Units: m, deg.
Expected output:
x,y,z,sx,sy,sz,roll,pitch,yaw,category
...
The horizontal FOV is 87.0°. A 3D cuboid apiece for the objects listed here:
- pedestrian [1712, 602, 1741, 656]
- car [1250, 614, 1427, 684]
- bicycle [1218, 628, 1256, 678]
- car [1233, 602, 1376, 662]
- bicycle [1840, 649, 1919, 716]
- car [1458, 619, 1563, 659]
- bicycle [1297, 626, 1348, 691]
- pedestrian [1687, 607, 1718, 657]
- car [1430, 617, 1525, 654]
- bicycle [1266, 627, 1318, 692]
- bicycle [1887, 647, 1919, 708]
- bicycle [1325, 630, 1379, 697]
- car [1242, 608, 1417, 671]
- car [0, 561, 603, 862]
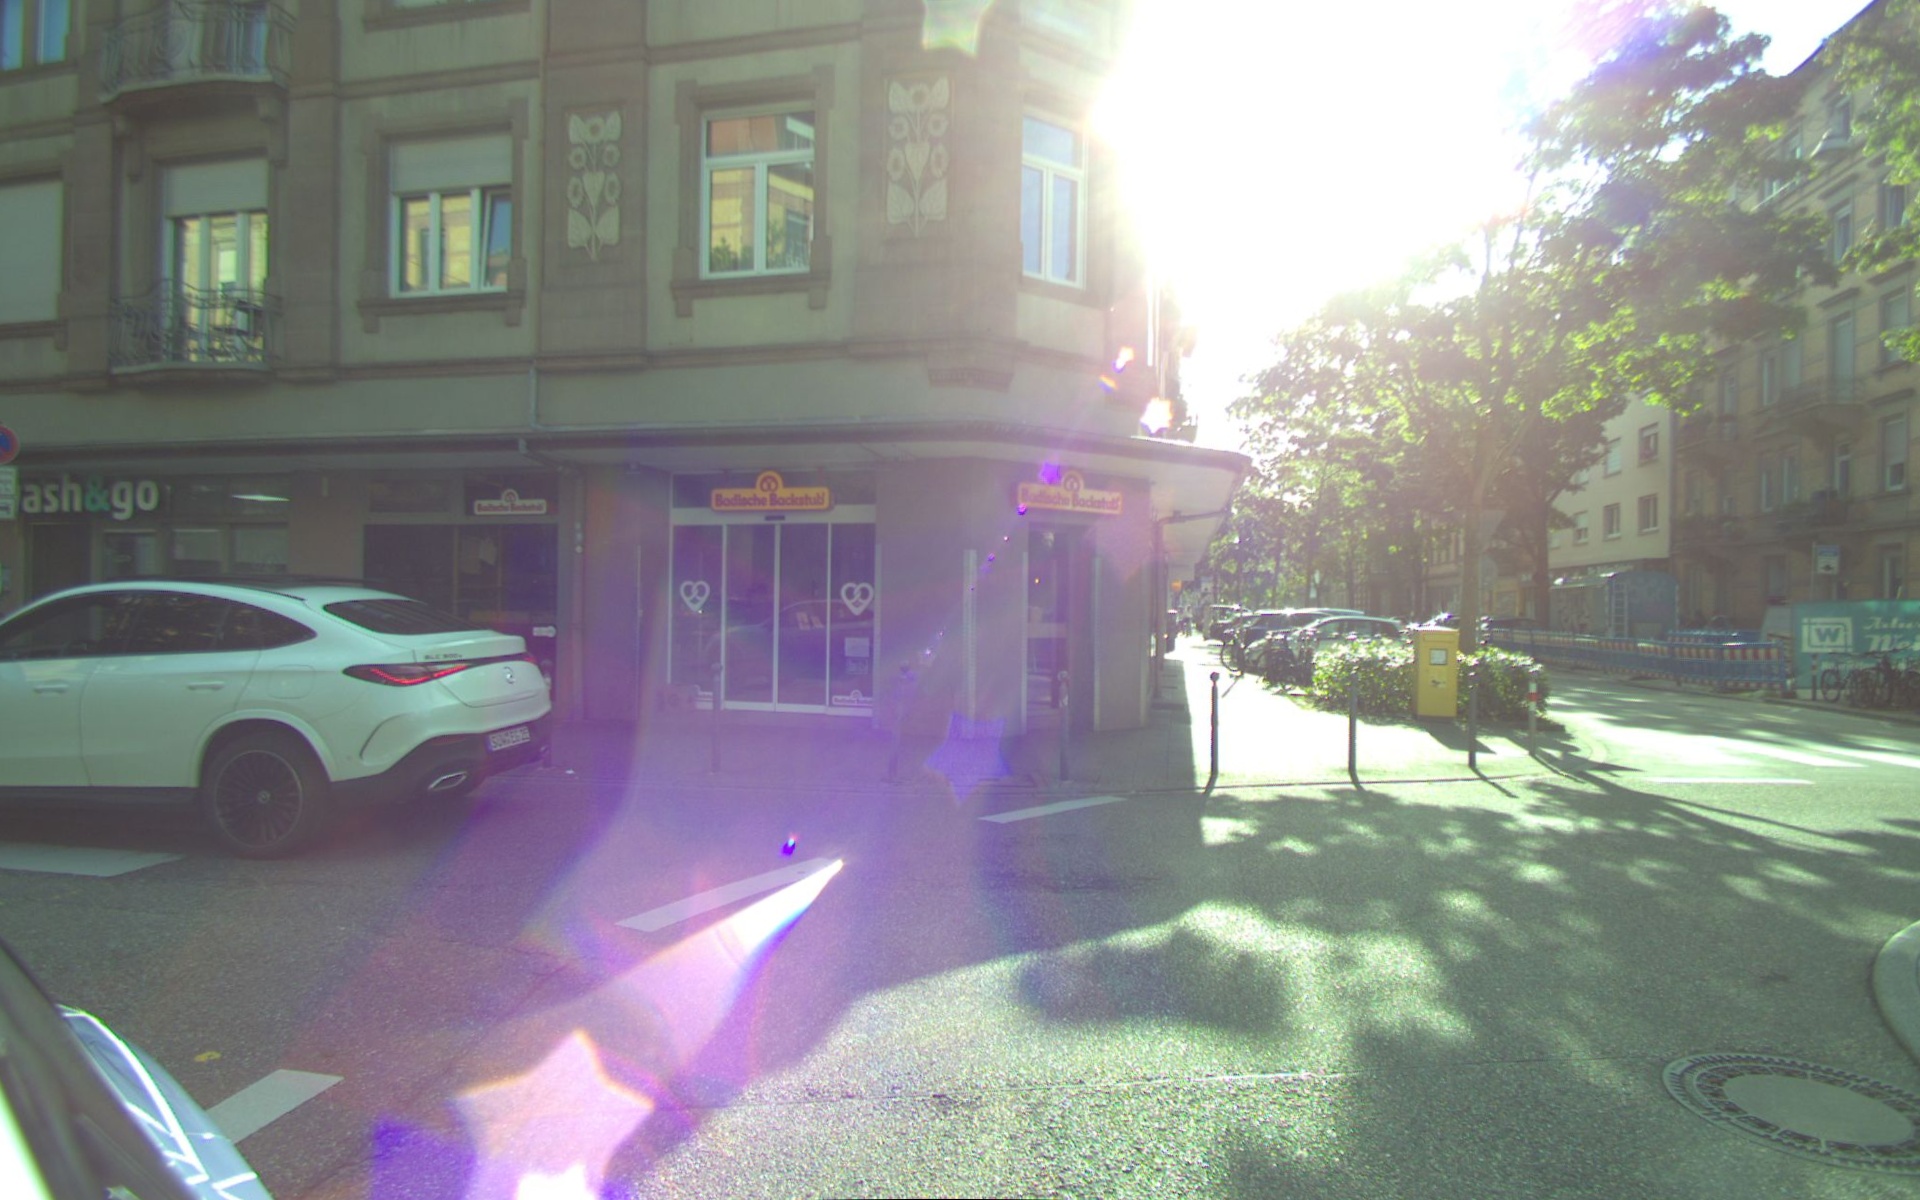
x,y,z,sx,sy,sz,roll,pitch,yaw,category
26.172,0.984,34.575,0.618,1.832,0.519,0,-1,11,pedestrian
8.732,1.102,23.621,3.660,1.487,1.571,0,1,12,car
6.289,1.186,23.048,0.598,1.036,1.776,0,1,8,bicycle
9.625,0.869,28.535,3.662,1.608,1.570,0,1,14,car
16.302,1.404,17.417,0.584,1.037,2.138,-1,-1,6,bicycle
24.696,1.730,45.556,3.975,1.614,1.865,0,1,24,car
6.926,1.082,19.406,0.473,1.143,2.424,1,-1,9,bicycle
25.483,1.096,34.738,0.694,1.685,0.519,0,-1,11,pedestrian
25.002,1.692,49.062,3.975,1.614,1.865,0,1,24,car
6.366,1.102,19.503,0.573,1.143,2.424,1,-1,9,bicycle
17.065,1.360,17.348,0.584,1.037,2.073,-1,-1,6,bicycle
7.450,1.169,19.312,0.473,1.143,2.424,0,-1,9,bicycle
9.352,0.966,25.936,4.034,1.487,1.570,0,1,14,car
-5.116,0.614,6.764,4.783,1.647,1.997,0,0,5,car
